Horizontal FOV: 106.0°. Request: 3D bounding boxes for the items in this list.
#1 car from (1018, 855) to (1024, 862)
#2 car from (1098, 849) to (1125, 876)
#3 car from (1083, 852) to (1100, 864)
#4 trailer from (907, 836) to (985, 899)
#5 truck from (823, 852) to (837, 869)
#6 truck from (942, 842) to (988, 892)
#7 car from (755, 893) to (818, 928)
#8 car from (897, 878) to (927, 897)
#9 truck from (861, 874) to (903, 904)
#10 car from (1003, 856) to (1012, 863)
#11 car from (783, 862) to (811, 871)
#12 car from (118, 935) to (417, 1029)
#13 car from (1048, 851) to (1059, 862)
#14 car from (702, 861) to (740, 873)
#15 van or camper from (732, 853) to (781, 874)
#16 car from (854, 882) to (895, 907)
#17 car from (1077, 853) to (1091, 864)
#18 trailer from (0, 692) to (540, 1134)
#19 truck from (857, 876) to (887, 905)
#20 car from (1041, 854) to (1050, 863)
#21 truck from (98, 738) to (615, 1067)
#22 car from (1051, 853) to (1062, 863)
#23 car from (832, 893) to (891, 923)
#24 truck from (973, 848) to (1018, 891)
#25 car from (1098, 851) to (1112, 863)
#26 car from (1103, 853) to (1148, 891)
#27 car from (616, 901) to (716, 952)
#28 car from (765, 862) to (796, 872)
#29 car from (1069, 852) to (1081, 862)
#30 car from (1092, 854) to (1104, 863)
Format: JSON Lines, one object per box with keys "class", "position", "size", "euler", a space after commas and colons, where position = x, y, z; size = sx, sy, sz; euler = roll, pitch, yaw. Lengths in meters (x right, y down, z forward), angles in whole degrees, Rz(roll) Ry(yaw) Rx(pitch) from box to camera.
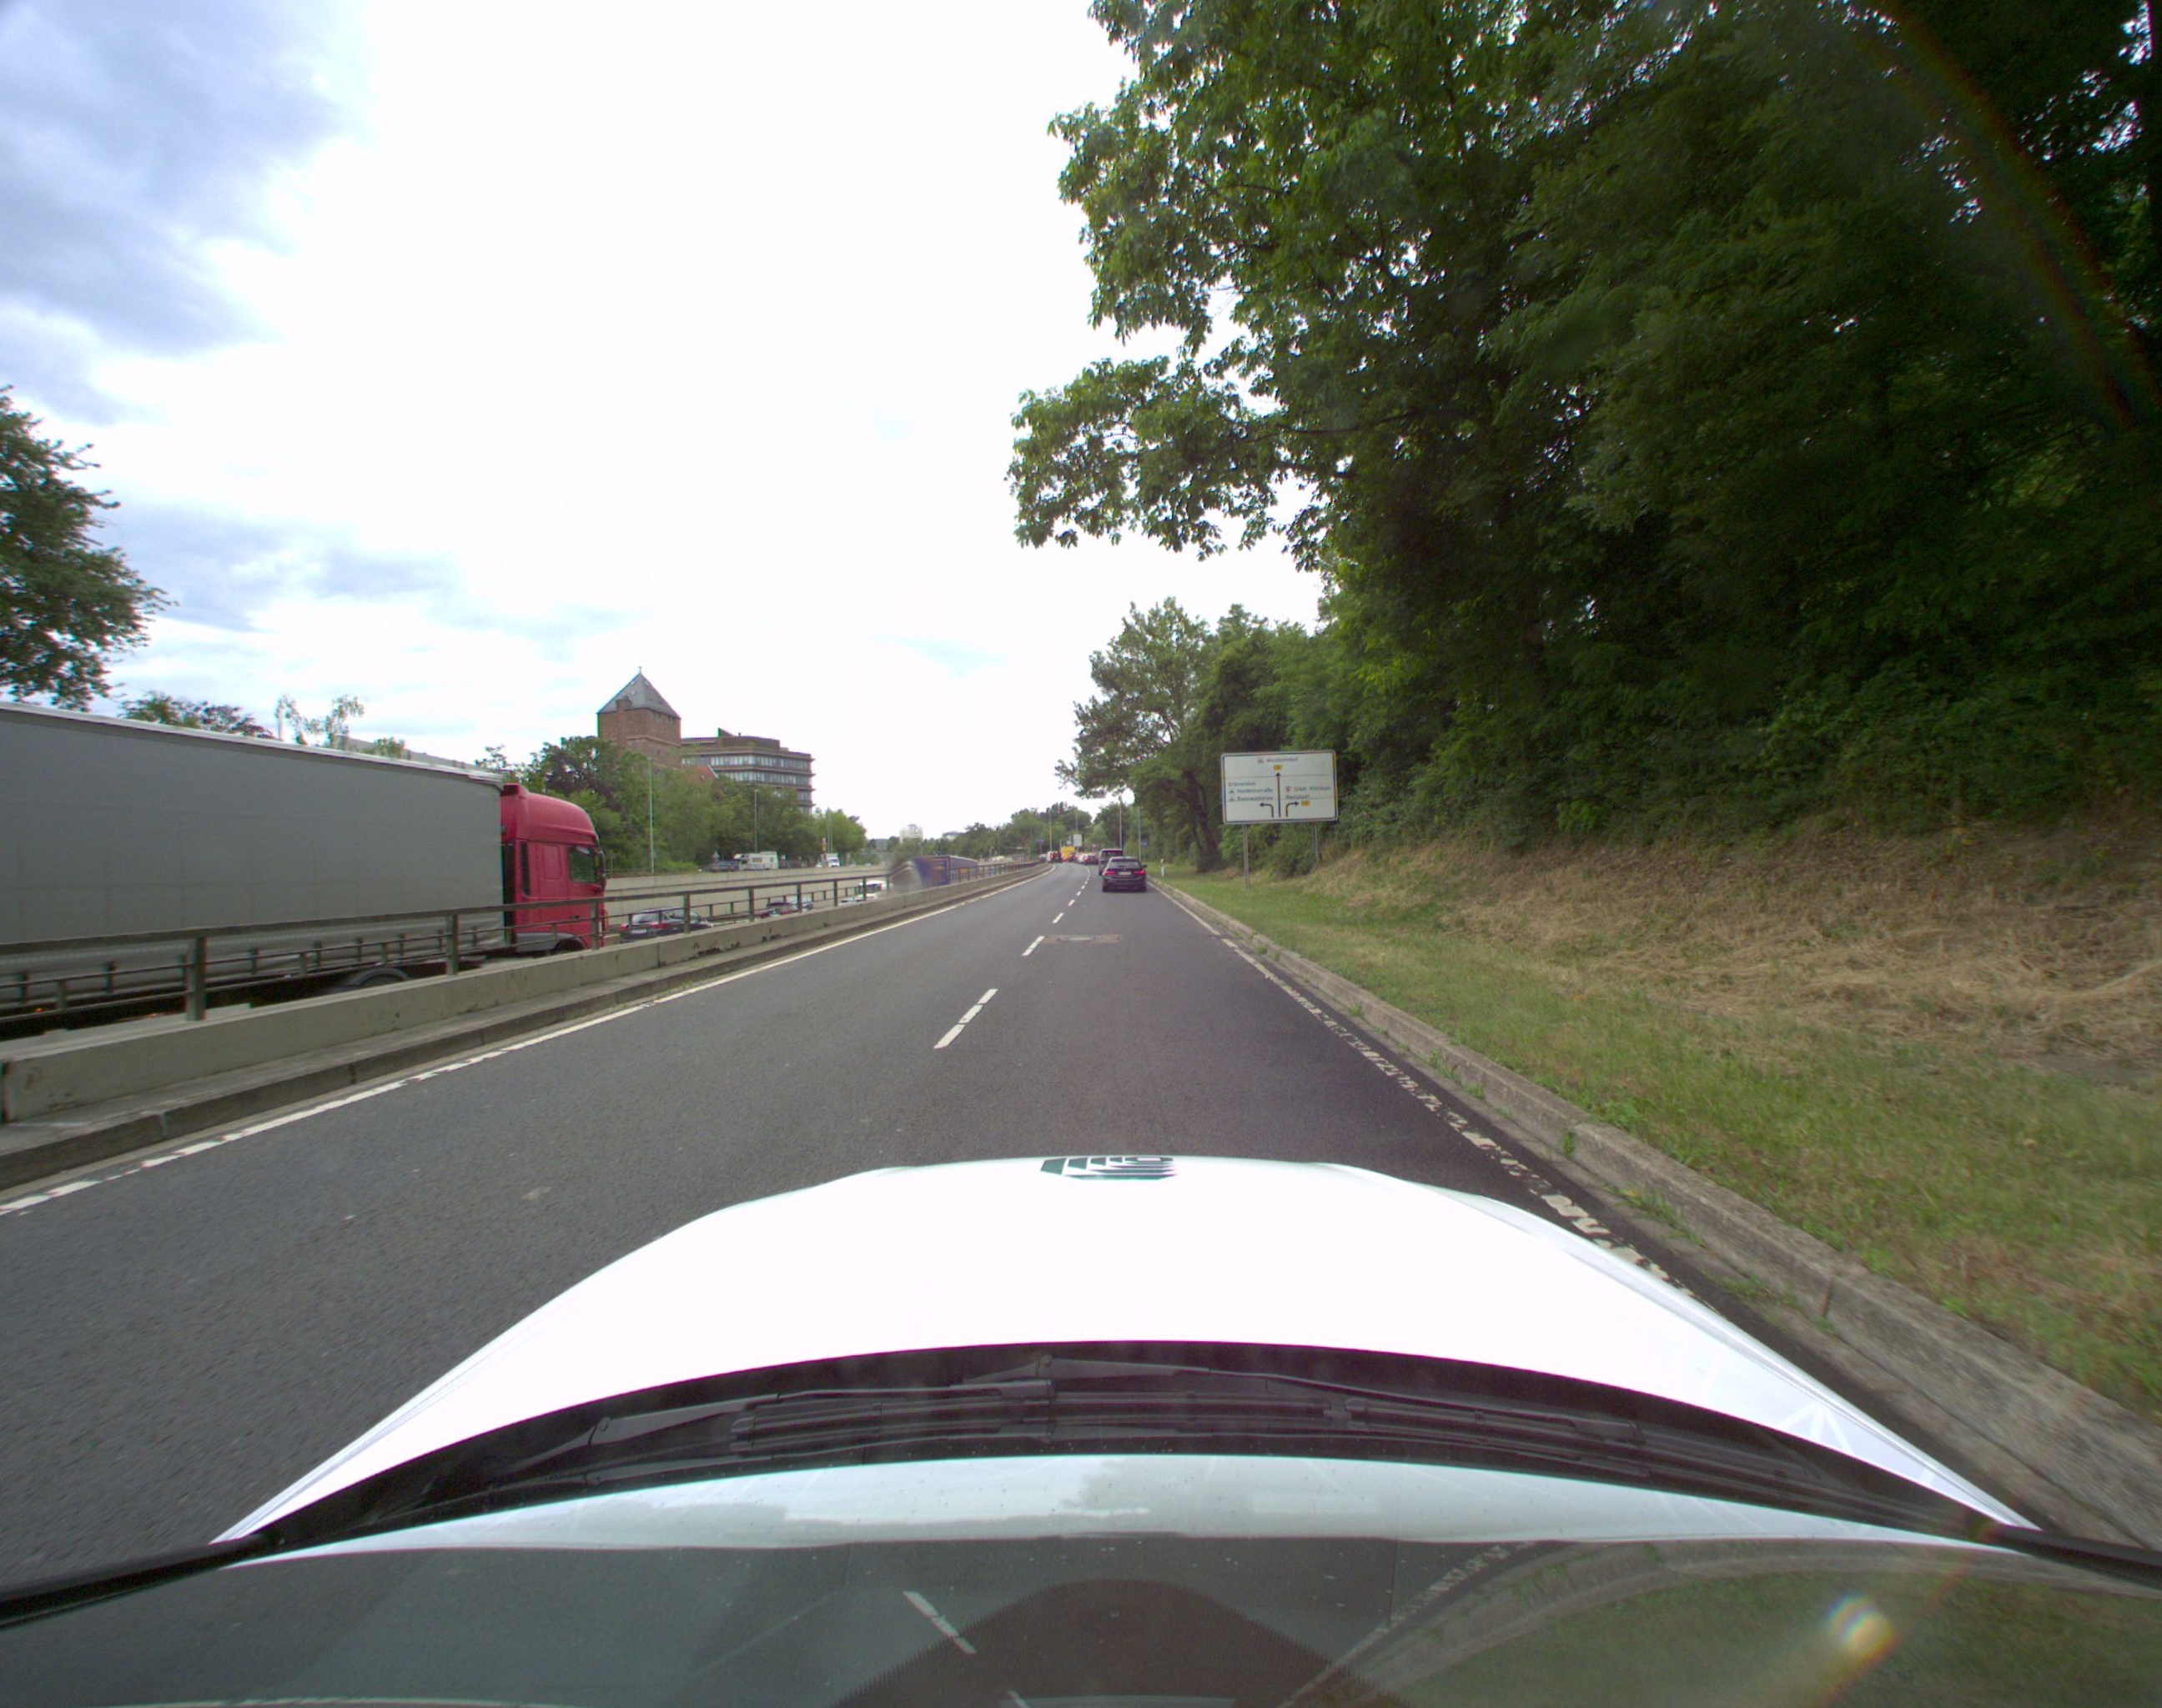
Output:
{"class": "car", "position": [-16.337, 1.224, 220.970], "size": [1.621, 1.701, 4.288], "euler": [0, -1, -5]}
{"class": "car", "position": [2.268, 0.594, 59.502], "size": [1.891, 1.884, 4.418], "euler": [0, -1, 2]}
{"class": "car", "position": [1.372, 0.550, 108.972], "size": [1.881, 1.592, 4.423], "euler": [0, -1, -4]}
{"class": "trailer", "position": [-9.838, 0.996, 61.617], "size": [2.842, 4.037, 16.005], "euler": [-2, -1, 1]}
{"class": "truck", "position": [-44.143, 1.183, 143.035], "size": [2.023, 2.987, 7.049], "euler": [0, -1, -20]}
{"class": "truck", "position": [-9.790, 1.094, 69.535], "size": [2.841, 4.037, 6.097], "euler": [-2, -1, 0]}
{"class": "car", "position": [-14.797, 2.815, 41.092], "size": [1.617, 1.529, 3.899], "euler": [0, -1, 2]}
{"class": "car", "position": [-14.202, 2.791, 68.585], "size": [1.617, 1.529, 3.899], "euler": [0, -1, 2]}
{"class": "truck", "position": [-25.252, 4.405, 103.891], "size": [2.516, 3.352, 11.048], "euler": [-2, -1, 0]}
{"class": "car", "position": [-18.384, 1.457, 203.682], "size": [1.616, 1.701, 4.301], "euler": [0, -1, 4]}
{"class": "car", "position": [-45.560, 1.950, 130.590], "size": [1.608, 1.441, 4.025], "euler": [-1, -1, 41]}
{"class": "car", "position": [-15.080, 2.318, 15.451], "size": [1.649, 1.213, 3.899], "euler": [0, -1, 3]}
{"class": "car", "position": [-5.044, 0.464, 148.808], "size": [1.881, 1.987, 4.423], "euler": [0, -1, -4]}
{"class": "car", "position": [-44.403, 1.632, 100.551], "size": [1.608, 1.441, 4.025], "euler": [-1, -1, 41]}
{"class": "van or camper", "position": [-44.672, 1.307, 112.214], "size": [5.958, 2.810, 2.120], "euler": [0, -1, -43]}
{"class": "car", "position": [-13.685, 2.668, 54.129], "size": [1.617, 1.529, 3.899], "euler": [0, -1, 2]}
{"class": "car", "position": [0.403, 0.689, 123.578], "size": [1.881, 1.592, 4.423], "euler": [0, -1, -4]}
{"class": "trailer", "position": [-11.218, 0.572, 7.130], "size": [2.641, 4.037, 14.562], "euler": [-2, -1, 2]}
{"class": "truck", "position": [-25.284, 4.418, 98.675], "size": [2.516, 3.220, 4.318], "euler": [-2, -1, 0]}
{"class": "car", "position": [-6.785, 0.840, 155.957], "size": [1.621, 1.701, 4.288], "euler": [0, -1, -5]}
{"class": "truck", "position": [-10.923, 0.645, 13.361], "size": [2.694, 4.037, 6.206], "euler": [-2, -1, 2]}
{"class": "car", "position": [-4.284, 0.750, 140.773], "size": [1.621, 1.701, 4.288], "euler": [0, -1, -5]}
{"class": "car", "position": [-10.321, 2.516, 38.539], "size": [1.649, 1.213, 3.898], "euler": [0, -1, 2]}
{"class": "truck", "position": [-8.874, 1.592, 86.873], "size": [2.841, 4.037, 15.577], "euler": [-2, -1, 1]}
{"class": "car", "position": [3.857, 0.451, 131.059], "size": [1.881, 1.880, 4.423], "euler": [0, -1, -4]}
{"class": "car", "position": [1.855, 0.714, 34.590], "size": [1.742, 1.426, 4.464], "euler": [-1, 1, 2]}
{"class": "car", "position": [-15.070, 2.594, 29.814], "size": [1.650, 1.529, 3.897], "euler": [0, -1, 1]}
{"class": "car", "position": [-45.212, 1.971, 122.526], "size": [1.608, 1.441, 4.025], "euler": [-1, -1, 41]}
{"class": "car", "position": [-1.066, 0.558, 145.724], "size": [1.881, 1.700, 4.423], "euler": [0, -1, -4]}
{"class": "car", "position": [2.931, 0.835, 141.820], "size": [1.879, 1.545, 3.998], "euler": [0, -1, -1]}
